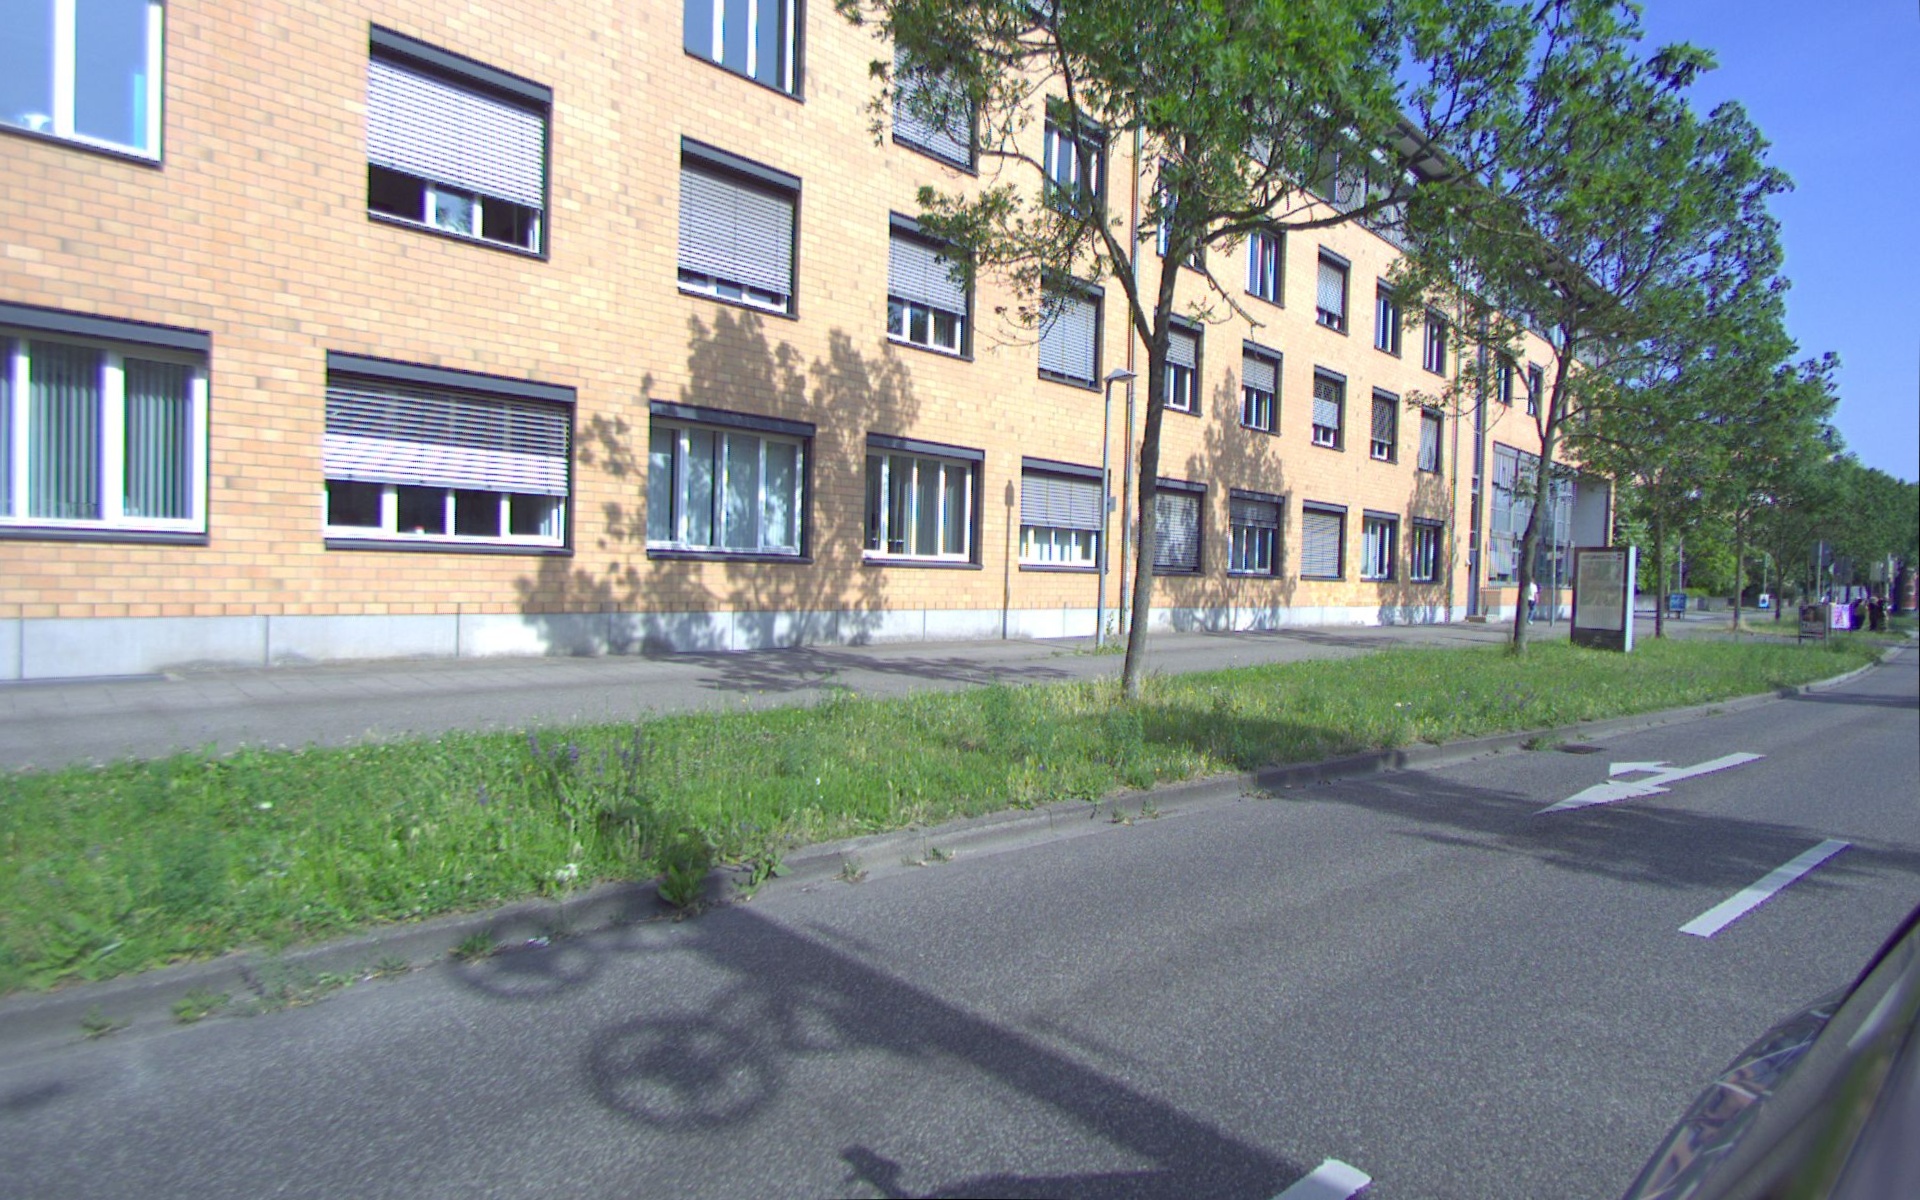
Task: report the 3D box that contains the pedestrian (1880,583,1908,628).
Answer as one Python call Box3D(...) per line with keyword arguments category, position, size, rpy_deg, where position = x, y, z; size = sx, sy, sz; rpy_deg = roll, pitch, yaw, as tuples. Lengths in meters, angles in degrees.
Box3D(category="pedestrian", position=(36.128, 0.206, 39.163), size=(0.706, 1.666, 0.678), rpy_deg=(4, 3, 44))

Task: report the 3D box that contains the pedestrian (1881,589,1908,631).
Box3D(category="pedestrian", position=(37.578, 0.392, 40.713), size=(0.705, 1.666, 0.679), rpy_deg=(4, 3, 42))

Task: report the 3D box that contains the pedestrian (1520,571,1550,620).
Box3D(category="pedestrian", position=(20.163, -0.170, 35.488), size=(0.760, 1.676, 0.696), rpy_deg=(-1, 3, -44))

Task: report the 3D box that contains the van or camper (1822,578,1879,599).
Box3D(category="van or camper", position=(119.921, -1.515, 136.318), size=(5.783, 2.727, 2.371), rpy_deg=(0, 1, 43))

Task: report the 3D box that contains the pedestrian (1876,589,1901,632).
Box3D(category="pedestrian", position=(36.856, 0.405, 40.169), size=(0.634, 1.666, 0.600), rpy_deg=(4, 3, 42))

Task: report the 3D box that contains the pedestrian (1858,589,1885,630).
Box3D(category="pedestrian", position=(37.588, 0.384, 41.738), size=(0.706, 1.666, 0.678), rpy_deg=(4, 3, 44))
